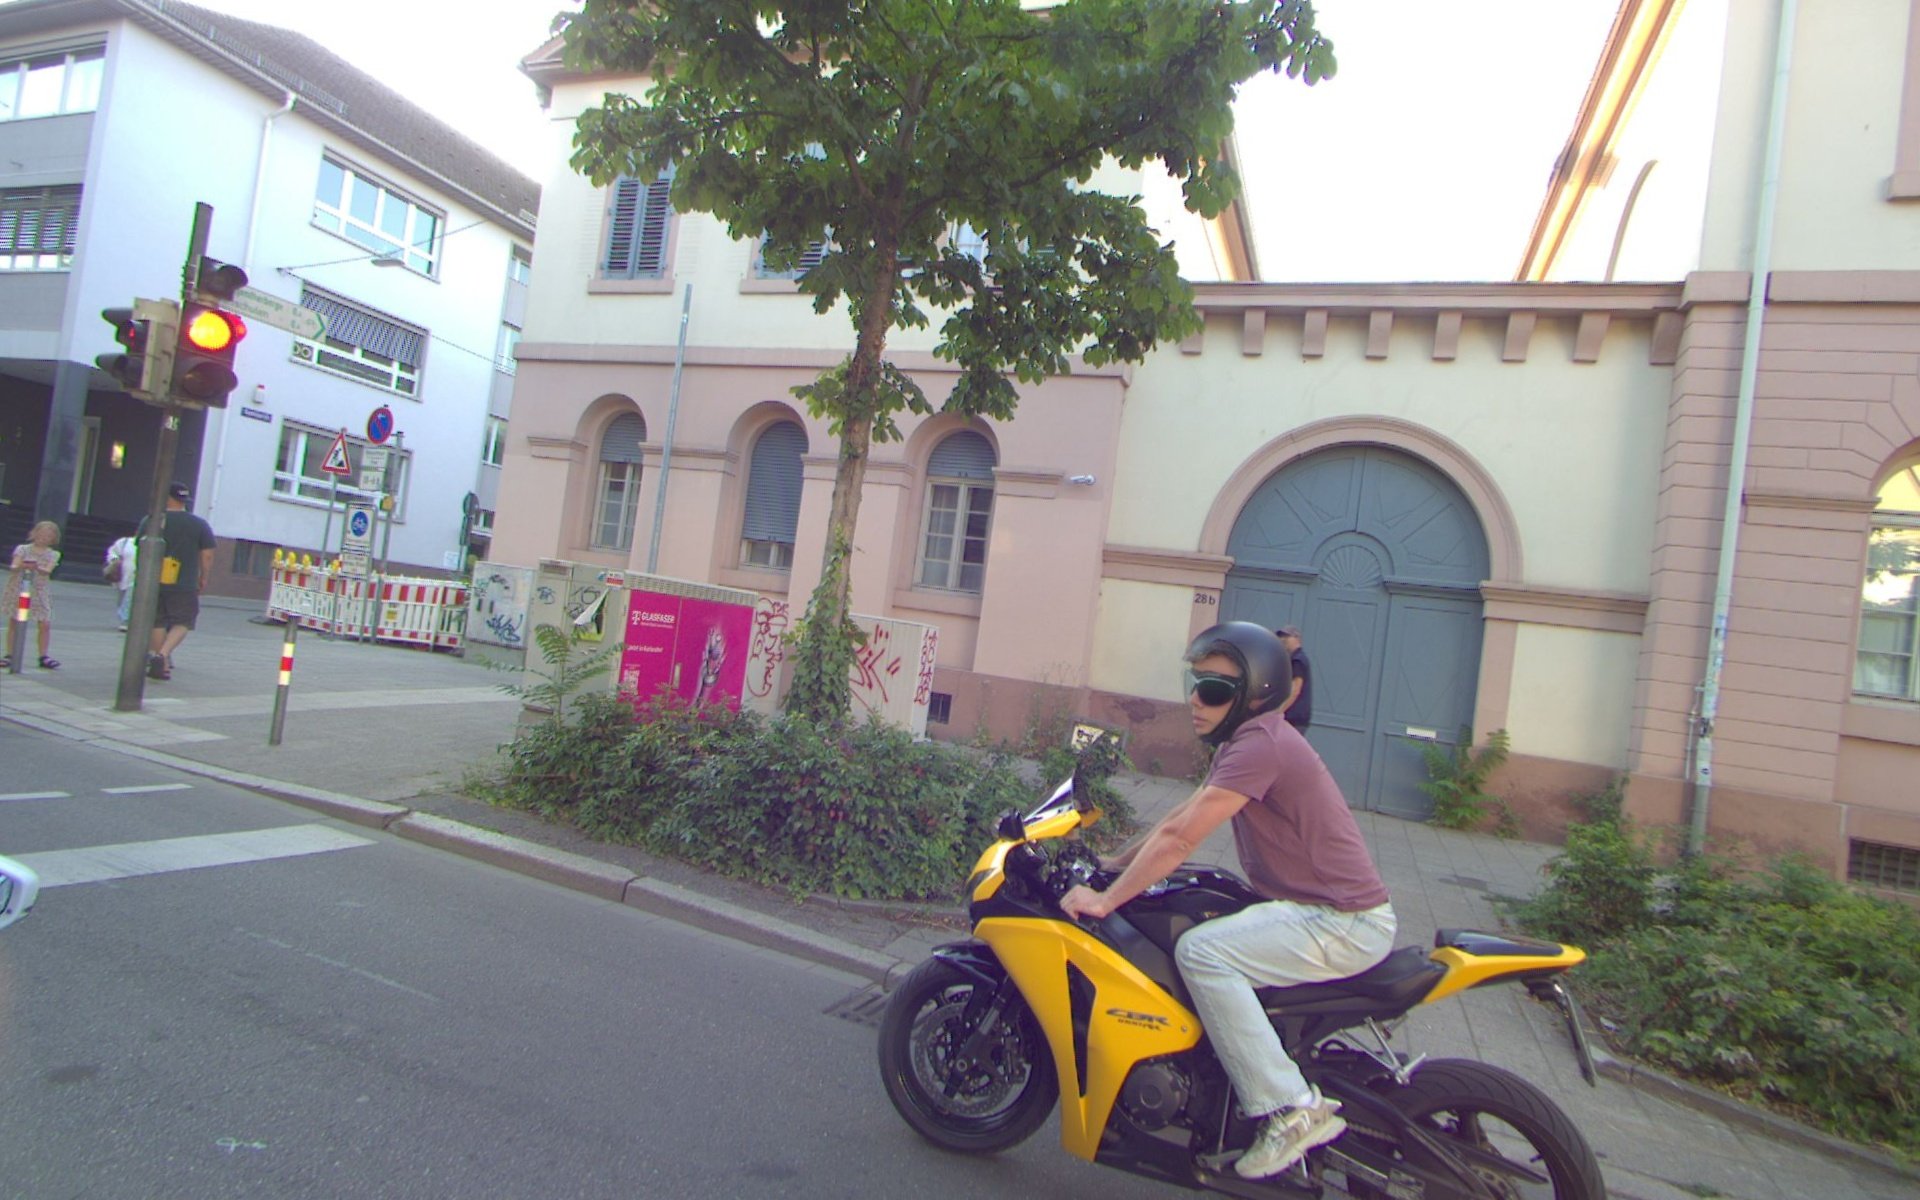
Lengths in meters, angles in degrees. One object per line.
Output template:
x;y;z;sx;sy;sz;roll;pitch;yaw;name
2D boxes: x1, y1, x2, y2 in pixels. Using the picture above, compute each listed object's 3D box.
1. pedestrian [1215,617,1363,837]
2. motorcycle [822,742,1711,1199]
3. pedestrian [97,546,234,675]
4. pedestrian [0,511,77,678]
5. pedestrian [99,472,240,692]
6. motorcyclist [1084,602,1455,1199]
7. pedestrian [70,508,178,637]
3.132;1.161;9.586;1.062;1.862;0.800;8;1;20;pedestrian
0.735;1.149;2.808;1.930;1.173;0.795;7;-3;19;motorcycle
-7.807;0.106;9.902;0.821;1.134;0.567;8;0;12;pedestrian
-8.089;-0.052;8.696;0.534;1.351;0.504;7;-2;45;pedestrian
-7.208;-0.172;9.199;0.788;1.837;0.881;8;1;-39;pedestrian
0.850;0.799;2.800;0.686;1.435;0.795;7;-3;19;motorcyclist
-10.839;-0.352;13.079;0.768;1.518;0.795;9;-1;-30;pedestrian
